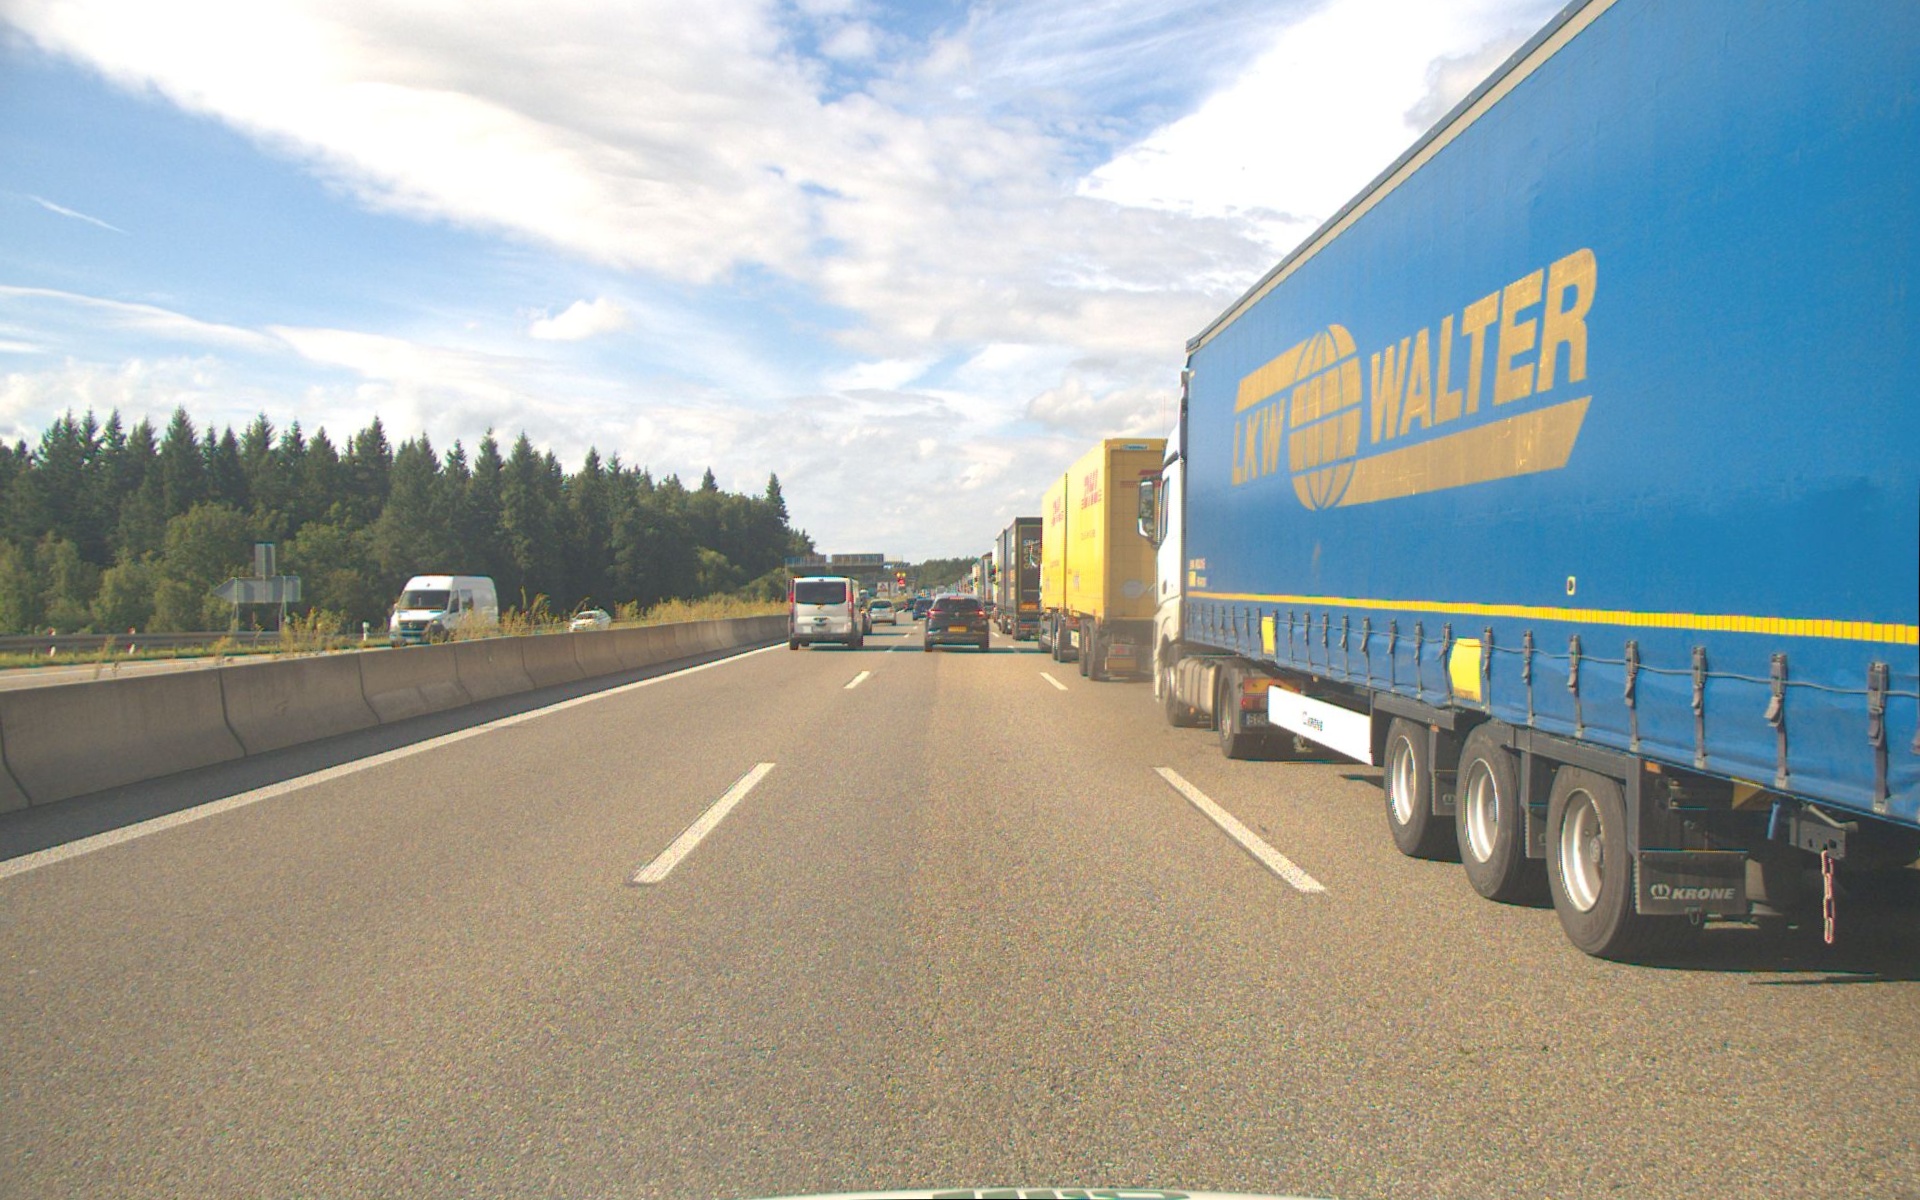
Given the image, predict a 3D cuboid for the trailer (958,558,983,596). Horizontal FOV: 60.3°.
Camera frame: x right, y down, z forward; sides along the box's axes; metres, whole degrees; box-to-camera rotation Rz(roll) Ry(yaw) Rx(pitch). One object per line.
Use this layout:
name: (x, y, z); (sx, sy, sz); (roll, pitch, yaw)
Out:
trailer: (1.296, -2.801, 202.004); (2.745, 4.318, 11.056); (-3, 0, 0)

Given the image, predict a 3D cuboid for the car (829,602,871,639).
car: (-4.396, 0.795, 66.420); (1.469, 1.420, 3.475); (1, 0, -1)

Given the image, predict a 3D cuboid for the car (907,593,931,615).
car: (-2.752, 0.261, 111.472); (1.549, 1.420, 3.207); (1, 0, -1)

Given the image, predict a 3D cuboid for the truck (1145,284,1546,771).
truck: (3.698, -0.613, 17.532); (2.594, 4.161, 6.490); (1, 0, -1)

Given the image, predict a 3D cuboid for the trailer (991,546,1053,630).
trailer: (3.080, -0.564, 86.046); (2.734, 4.008, 13.069); (-1, 0, 0)

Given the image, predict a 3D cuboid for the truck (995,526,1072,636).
truck: (2.876, -0.708, 67.412); (2.684, 4.109, 10.202); (1, 0, 0)

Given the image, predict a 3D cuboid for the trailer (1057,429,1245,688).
trailer: (3.359, -0.682, 31.208); (2.363, 4.139, 8.925); (1, 0, -1)

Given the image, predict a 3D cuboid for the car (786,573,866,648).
car: (-3.764, 0.295, 47.325); (1.893, 2.013, 5.098); (1, 0, 0)

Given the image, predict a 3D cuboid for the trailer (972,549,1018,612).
trailer: (2.285, -1.213, 112.027); (2.607, 3.936, 13.393); (-2, 0, 0)

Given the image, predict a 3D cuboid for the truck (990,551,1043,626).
truck: (3.113, -0.621, 92.313); (2.744, 4.008, 5.825); (-1, 0, 0)

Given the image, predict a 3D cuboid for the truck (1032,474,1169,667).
truck: (3.245, -0.650, 40.504); (2.363, 4.139, 9.663); (1, 0, -1)

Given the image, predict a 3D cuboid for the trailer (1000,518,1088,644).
trailer: (2.835, -0.641, 57.960); (2.660, 4.030, 8.712); (1, 0, 1)

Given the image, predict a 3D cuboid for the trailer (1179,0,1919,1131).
trailer: (3.808, -0.610, 10.928); (2.588, 4.169, 13.977); (1, 0, -1)

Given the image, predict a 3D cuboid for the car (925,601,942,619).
car: (-2.170, 0.789, 133.922); (1.333, 1.420, 3.084); (1, 0, -1)

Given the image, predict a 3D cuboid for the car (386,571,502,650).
car: (-18.546, 0.369, 59.858); (1.992, 2.623, 7.320); (1, 0, -1)

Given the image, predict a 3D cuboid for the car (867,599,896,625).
car: (-4.387, 0.672, 92.656); (1.469, 1.420, 3.475); (1, 0, -1)

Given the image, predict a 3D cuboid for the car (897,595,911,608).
car: (-5.887, 0.175, 173.495); (1.405, 1.333, 3.532); (1, 0, -1)

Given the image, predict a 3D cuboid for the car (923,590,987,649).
car: (-0.138, 0.522, 45.617); (1.662, 1.509, 4.159); (1, 0, 0)

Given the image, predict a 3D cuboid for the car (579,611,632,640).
car: (-22.985, 1.640, 107.465); (1.951, 1.831, 4.980); (1, 0, 5)

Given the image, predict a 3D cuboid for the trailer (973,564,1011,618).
trailer: (2.590, -0.732, 137.491); (2.648, 4.153, 12.943); (-3, 0, 0)

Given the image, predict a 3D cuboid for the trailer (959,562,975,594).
trailer: (0.966, -3.089, 232.952); (2.106, 4.333, 8.440); (-2, 0, 0)
